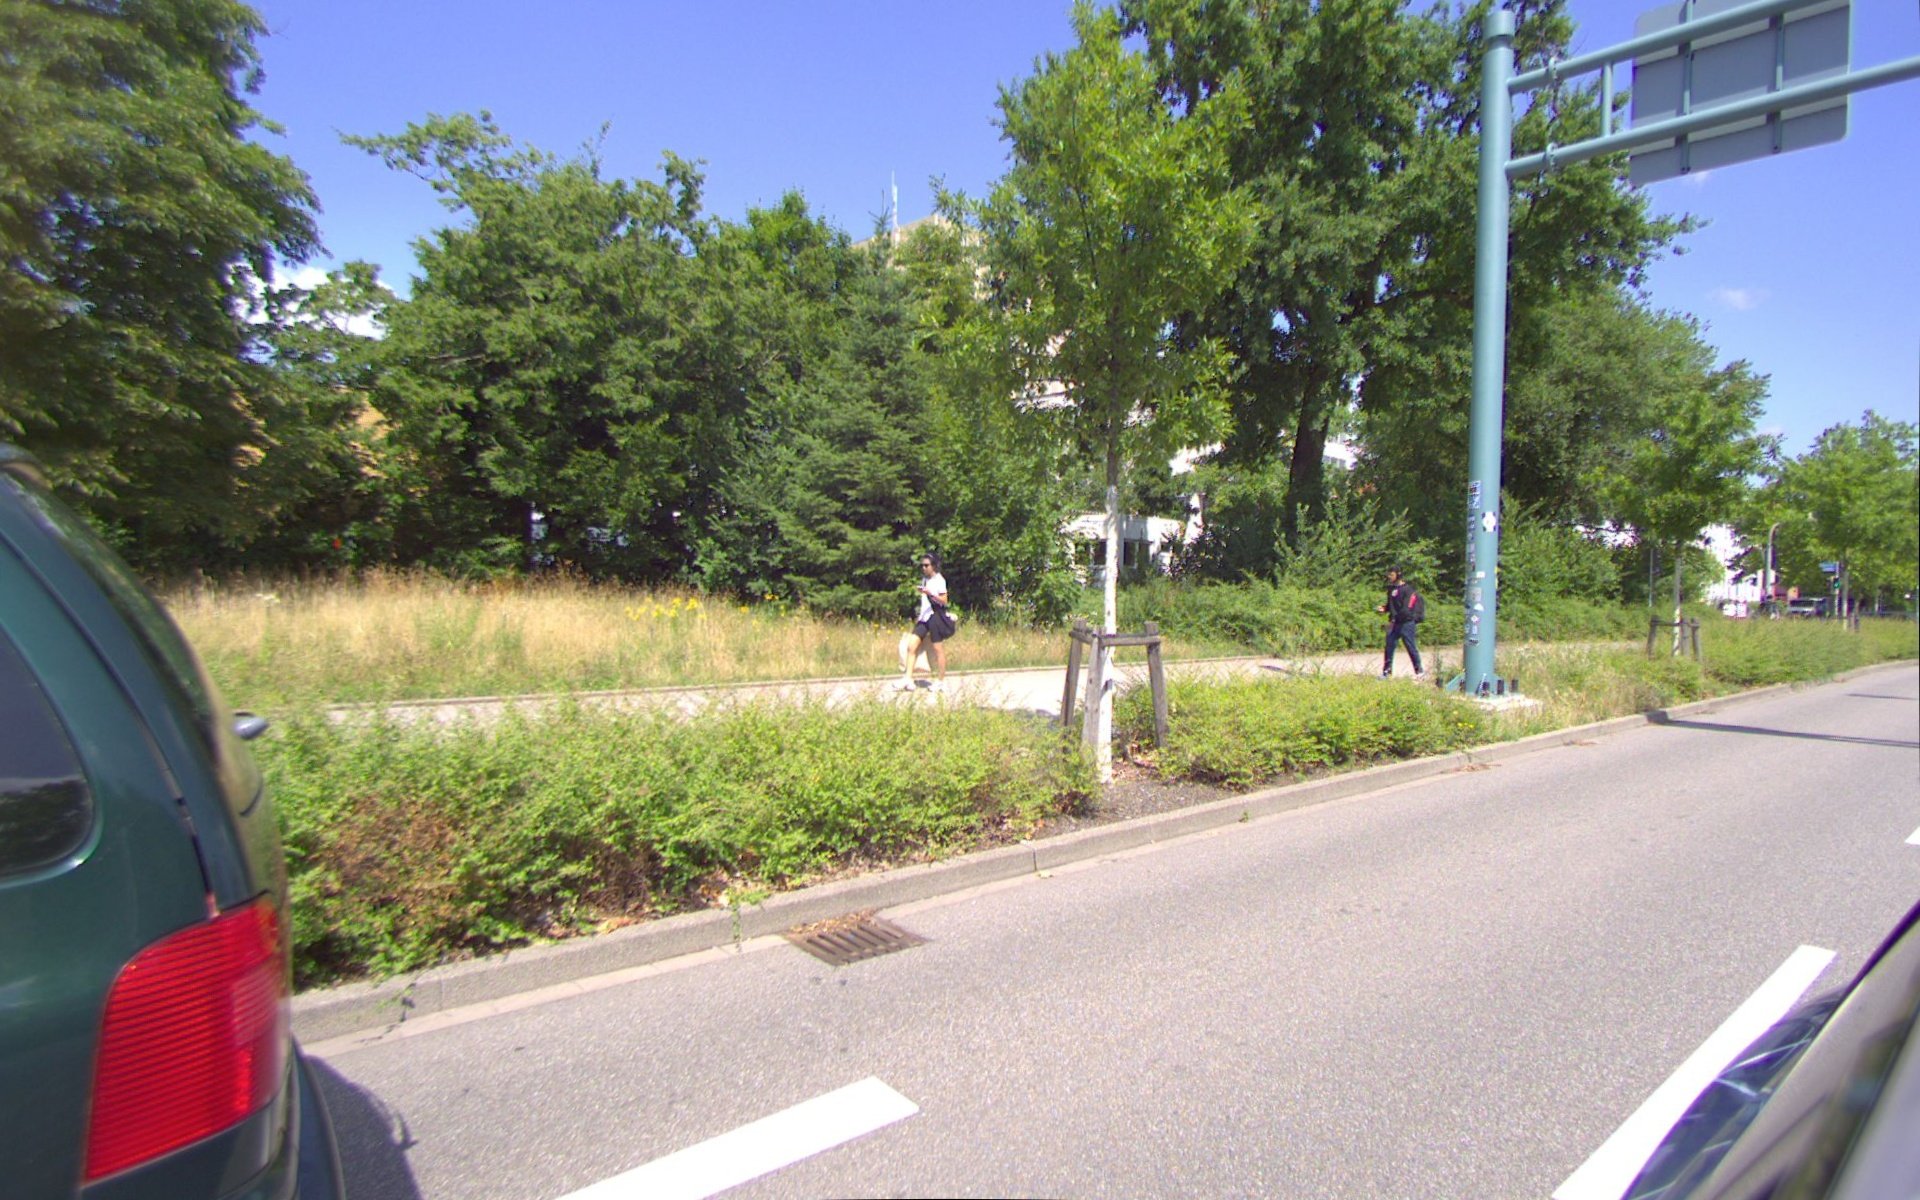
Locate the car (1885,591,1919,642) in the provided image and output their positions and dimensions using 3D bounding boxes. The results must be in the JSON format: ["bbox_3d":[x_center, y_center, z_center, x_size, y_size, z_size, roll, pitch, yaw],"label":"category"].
[{"bbox_3d":[39.724,0.692,40.506,1.966,2.039,3.993,2,1,7],"label":"car"}]

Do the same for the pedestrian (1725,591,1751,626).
[{"bbox_3d":[42.978,0.461,55.908,0.953,1.896,0.879,1,0,-34],"label":"pedestrian"}]

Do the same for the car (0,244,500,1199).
[{"bbox_3d":[-2.777,0.525,0.497,4.311,1.756,1.815,1,0,-41],"label":"car"}]

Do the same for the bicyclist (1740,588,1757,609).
[{"bbox_3d":[56.856,-0.129,72.961,0.967,1.462,1.061,1,1,40],"label":"bicyclist"}]

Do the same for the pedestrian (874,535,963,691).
[{"bbox_3d":[-0.488,0.137,11.811,0.733,1.743,0.724,1,1,-39],"label":"pedestrian"}]

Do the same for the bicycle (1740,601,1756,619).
[{"bbox_3d":[56.825,0.698,72.977,0.881,1.267,2.135,1,1,39],"label":"bicycle"}]

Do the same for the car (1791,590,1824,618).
[{"bbox_3d":[67.870,0.303,81.035,1.992,2.080,4.166,2,1,41],"label":"car"}]

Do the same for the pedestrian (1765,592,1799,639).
[{"bbox_3d":[30.921,0.577,38.062,0.913,1.743,0.815,1,1,-39],"label":"pedestrian"}]

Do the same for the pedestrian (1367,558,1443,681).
[{"bbox_3d":[6.582,0.270,14.970,0.822,1.743,0.718,1,1,-39],"label":"pedestrian"}]
